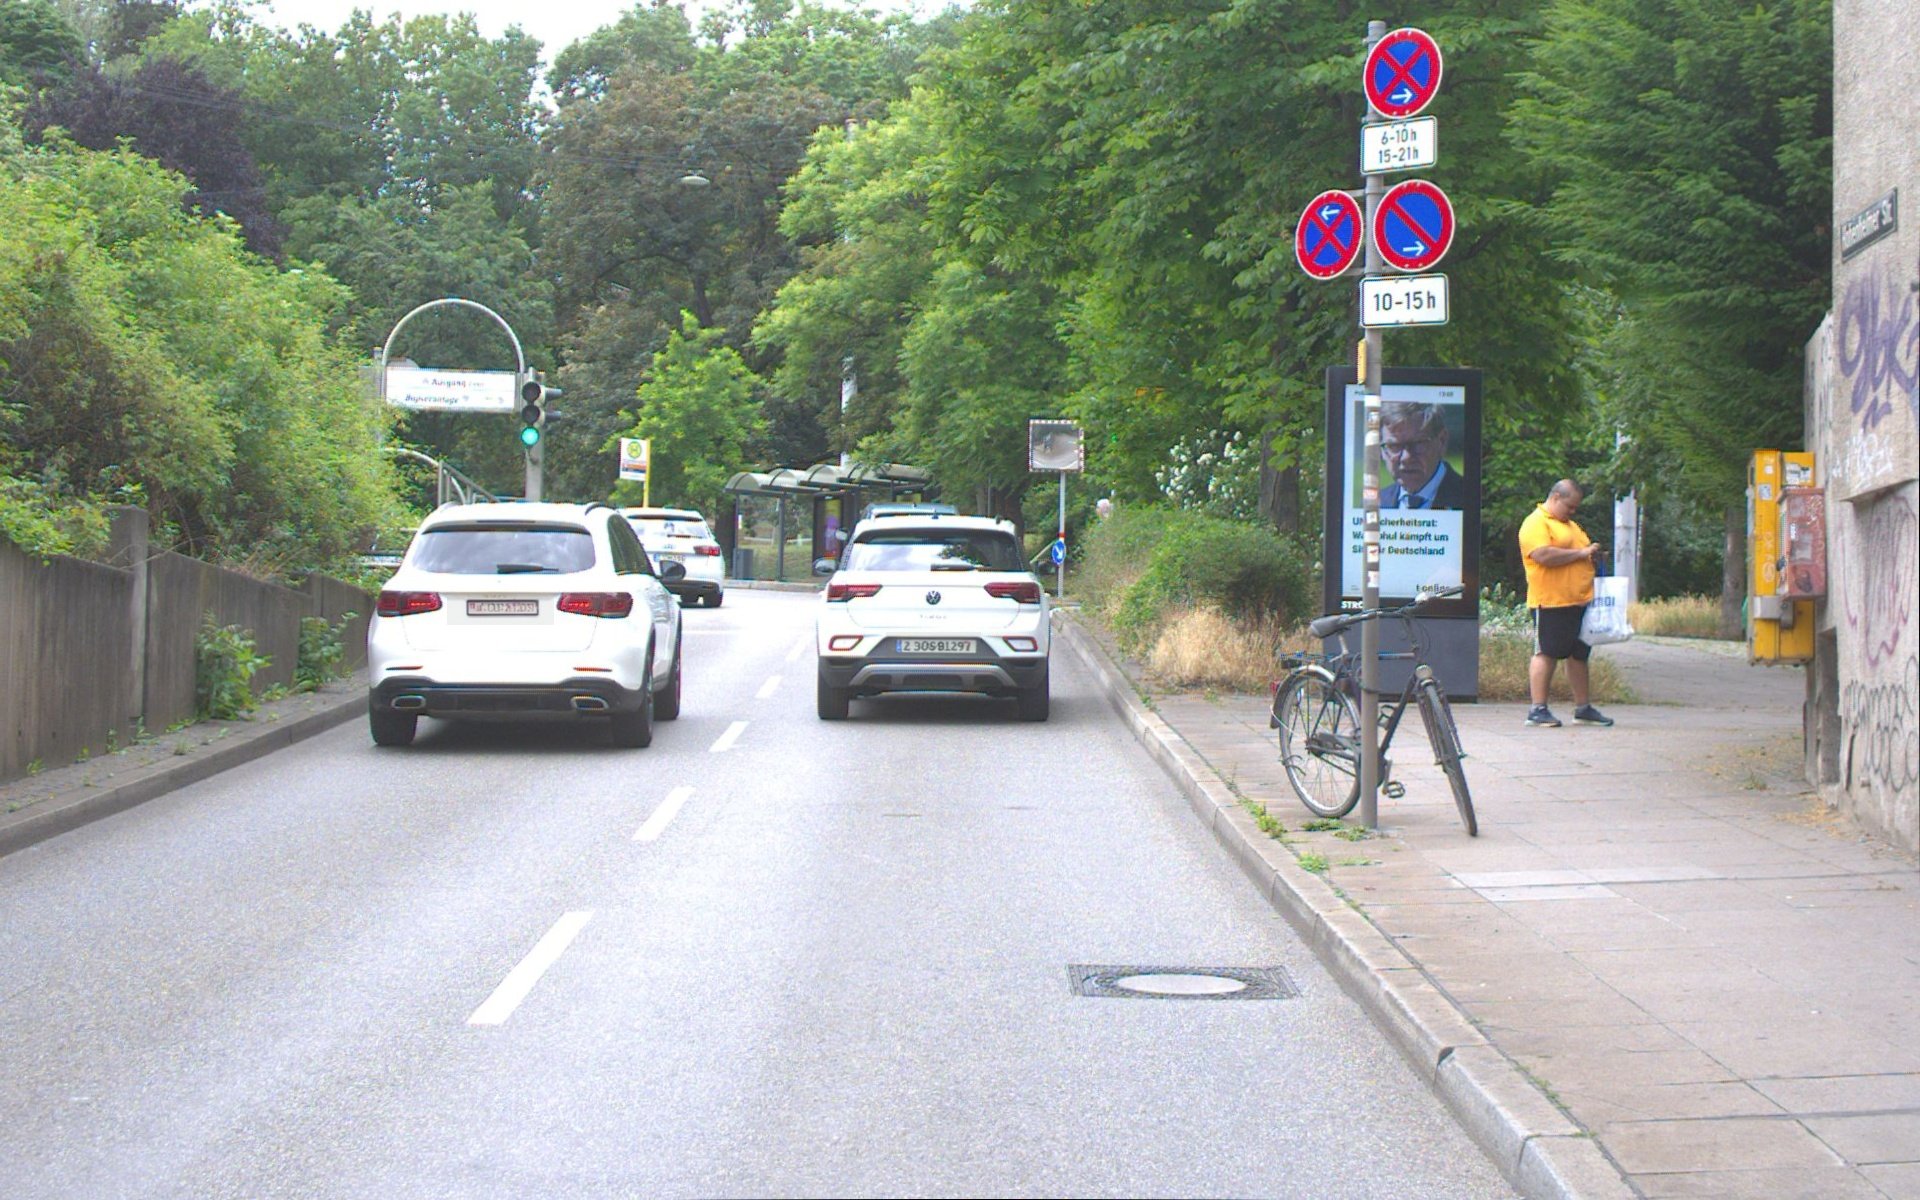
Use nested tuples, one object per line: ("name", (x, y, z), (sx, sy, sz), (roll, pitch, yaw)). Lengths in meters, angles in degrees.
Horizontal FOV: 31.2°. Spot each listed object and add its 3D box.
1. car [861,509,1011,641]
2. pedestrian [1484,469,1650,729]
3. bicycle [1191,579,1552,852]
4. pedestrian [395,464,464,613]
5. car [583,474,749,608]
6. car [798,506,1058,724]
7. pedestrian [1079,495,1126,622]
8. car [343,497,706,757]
("car", (-0.316, -0.349, 45.261), (1.861, 1.626, 3.959), (1, 1, 0))
("pedestrian", (4.070, -0.017, 23.094), (0.832, 1.706, 0.822), (-1, 1, -14))
("bicycle", (1.865, 0.495, 15.932), (0.638, 1.139, 2.066), (-3, 2, -25))
("pedestrian", (-6.684, -0.772, 43.307), (0.705, 1.854, 0.614), (1, 1, 6))
("car", (-4.487, -0.909, 51.961), (1.993, 1.875, 4.001), (2, 1, -11))
("car", (-0.212, 0.079, 27.171), (1.865, 1.551, 3.894), (1, 1, 1))
("pedestrian", (1.936, -0.559, 46.631), (0.615, 1.706, 0.727), (0, 1, 4))
("car", (-2.953, 0.131, 24.219), (1.877, 1.646, 4.341), (-1, 1, 2))
